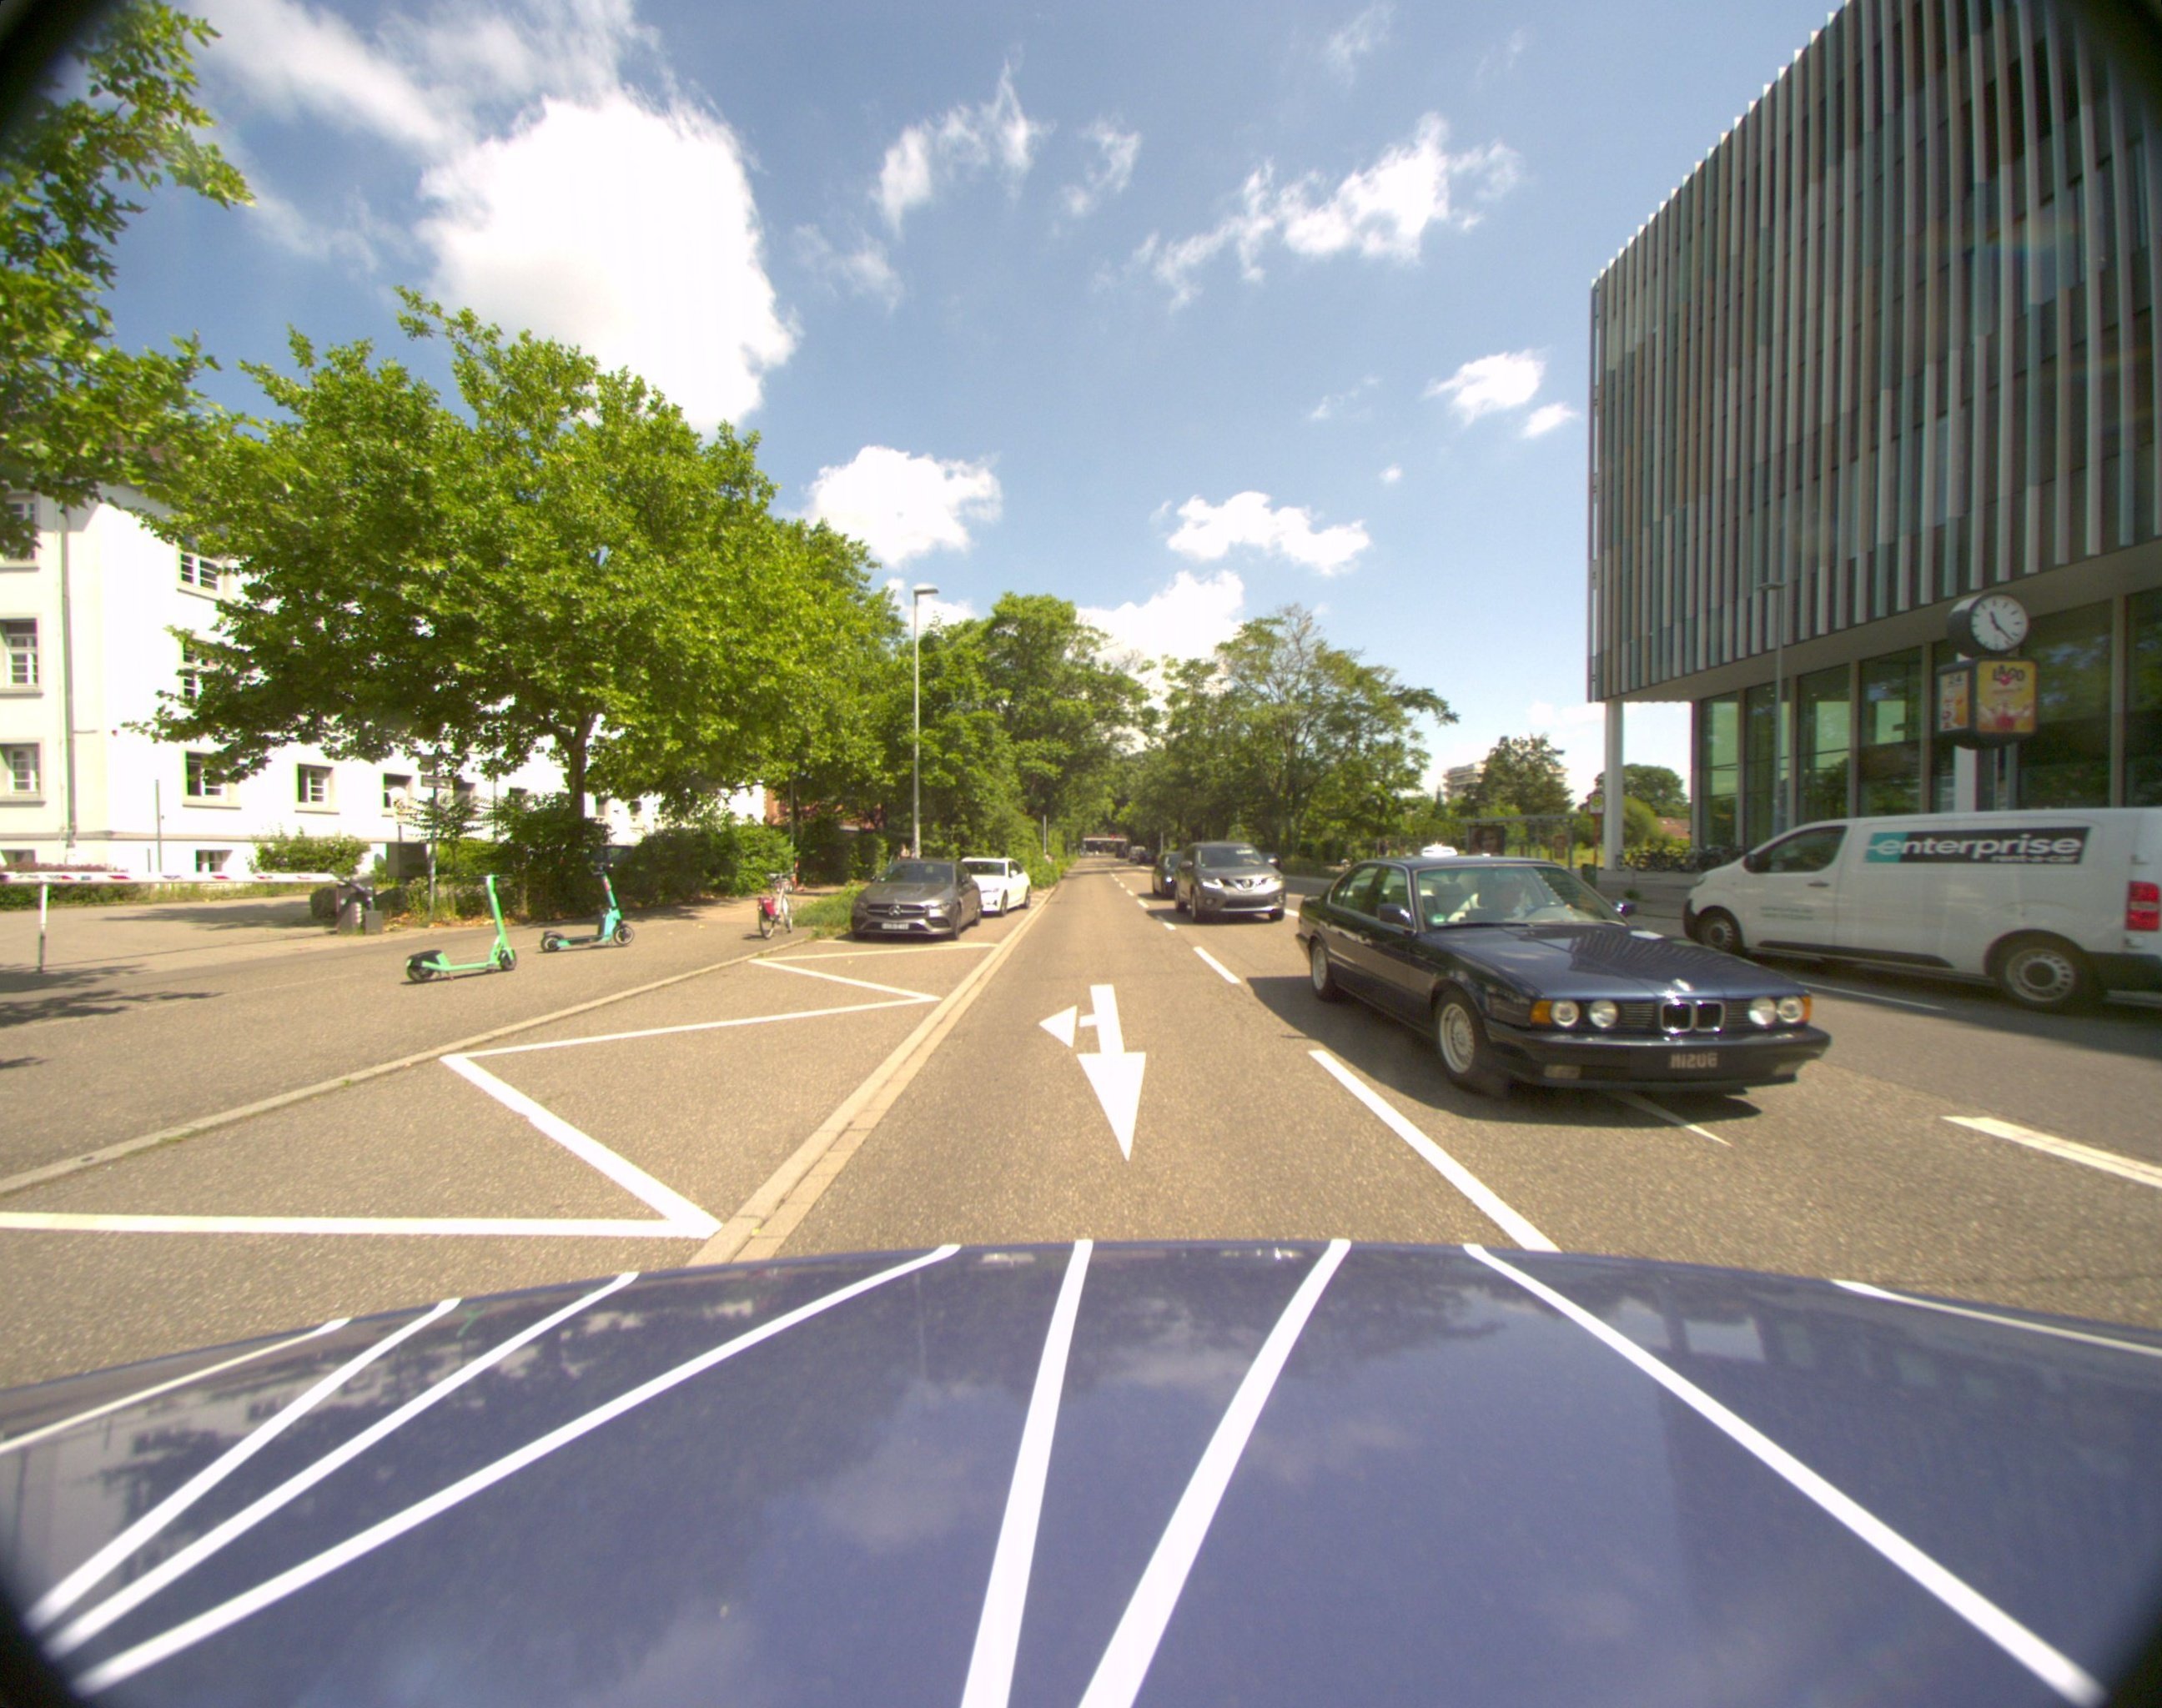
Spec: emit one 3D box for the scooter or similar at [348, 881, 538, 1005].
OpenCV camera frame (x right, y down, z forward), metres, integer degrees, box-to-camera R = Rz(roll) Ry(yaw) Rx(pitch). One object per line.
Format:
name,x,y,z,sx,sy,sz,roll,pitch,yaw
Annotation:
scooter or similar,-6.904,0.907,8.327,0.529,1.162,1.576,1,0,14

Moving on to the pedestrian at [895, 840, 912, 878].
pedestrian,-8.487,0.230,36.265,0.684,1.770,0.790,-3,2,-11

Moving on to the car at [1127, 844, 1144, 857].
car,6.733,-0.433,93.667,1.897,1.502,3.829,-2,1,6

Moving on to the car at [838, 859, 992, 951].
car,-3.017,0.855,14.955,1.861,1.470,4.942,1,0,1

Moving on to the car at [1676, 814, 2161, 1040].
car,9.458,0.581,8.415,1.903,1.801,4.731,0,0,-2

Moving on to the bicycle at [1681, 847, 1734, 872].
bicycle,25.254,0.215,30.639,1.784,0.950,0.433,-2,1,0

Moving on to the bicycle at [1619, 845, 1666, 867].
bicycle,25.262,0.085,34.195,1.784,0.950,0.433,-2,1,0

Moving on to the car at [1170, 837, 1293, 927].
car,3.118,0.521,16.674,1.824,1.669,4.478,-1,0,1

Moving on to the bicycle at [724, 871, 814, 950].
bicycle,-5.264,0.907,12.970,0.639,1.184,2.119,1,0,0

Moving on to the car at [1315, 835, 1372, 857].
car,20.318,-0.634,58.869,3.823,1.502,1.900,-2,1,6

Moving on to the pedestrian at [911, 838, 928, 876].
pedestrian,-7.721,0.153,36.376,0.684,1.770,0.790,-3,2,-11

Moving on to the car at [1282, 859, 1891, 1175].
car,3.002,0.792,5.902,1.696,1.378,4.613,-2,1,1

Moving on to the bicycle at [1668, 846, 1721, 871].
bicycle,25.266,0.189,31.297,1.784,0.950,0.433,-2,1,0

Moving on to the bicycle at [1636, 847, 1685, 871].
bicycle,25.201,0.203,33.055,1.784,0.950,0.433,-2,1,0

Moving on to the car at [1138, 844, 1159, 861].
car,6.434,-0.176,72.242,1.897,1.502,3.829,-2,1,6

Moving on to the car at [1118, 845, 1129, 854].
car,7.566,-0.791,136.014,1.756,1.502,3.828,-2,1,2

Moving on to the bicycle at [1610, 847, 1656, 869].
bicycle,25.252,0.172,34.749,1.784,0.950,0.433,-2,1,0

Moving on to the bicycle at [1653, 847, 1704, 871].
bicycle,25.191,0.207,32.049,1.784,0.950,0.433,-2,1,0

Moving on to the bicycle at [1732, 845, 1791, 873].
bicycle,25.210,0.177,28.176,1.784,0.950,0.433,-2,1,0

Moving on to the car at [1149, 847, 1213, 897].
car,3.136,0.520,24.467,1.828,1.408,4.192,-2,1,5

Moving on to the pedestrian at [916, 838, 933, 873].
pedestrian,-7.979,0.066,38.784,0.684,1.770,0.790,-3,2,-7

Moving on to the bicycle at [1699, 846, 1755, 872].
bicycle,25.122,0.184,29.567,1.784,0.950,0.433,-2,1,0

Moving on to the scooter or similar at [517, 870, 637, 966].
scooter or similar,-7.031,0.854,10.652,0.528,1.239,1.292,1,1,35

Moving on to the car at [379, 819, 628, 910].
car,-12.945,0.211,17.273,3.998,1.773,1.999,-2,1,-2

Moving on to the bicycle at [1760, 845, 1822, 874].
bicycle,25.347,0.194,27.142,1.784,0.950,0.433,-2,1,0

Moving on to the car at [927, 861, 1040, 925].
car,-2.428,0.928,20.218,1.741,1.442,4.944,1,0,7
